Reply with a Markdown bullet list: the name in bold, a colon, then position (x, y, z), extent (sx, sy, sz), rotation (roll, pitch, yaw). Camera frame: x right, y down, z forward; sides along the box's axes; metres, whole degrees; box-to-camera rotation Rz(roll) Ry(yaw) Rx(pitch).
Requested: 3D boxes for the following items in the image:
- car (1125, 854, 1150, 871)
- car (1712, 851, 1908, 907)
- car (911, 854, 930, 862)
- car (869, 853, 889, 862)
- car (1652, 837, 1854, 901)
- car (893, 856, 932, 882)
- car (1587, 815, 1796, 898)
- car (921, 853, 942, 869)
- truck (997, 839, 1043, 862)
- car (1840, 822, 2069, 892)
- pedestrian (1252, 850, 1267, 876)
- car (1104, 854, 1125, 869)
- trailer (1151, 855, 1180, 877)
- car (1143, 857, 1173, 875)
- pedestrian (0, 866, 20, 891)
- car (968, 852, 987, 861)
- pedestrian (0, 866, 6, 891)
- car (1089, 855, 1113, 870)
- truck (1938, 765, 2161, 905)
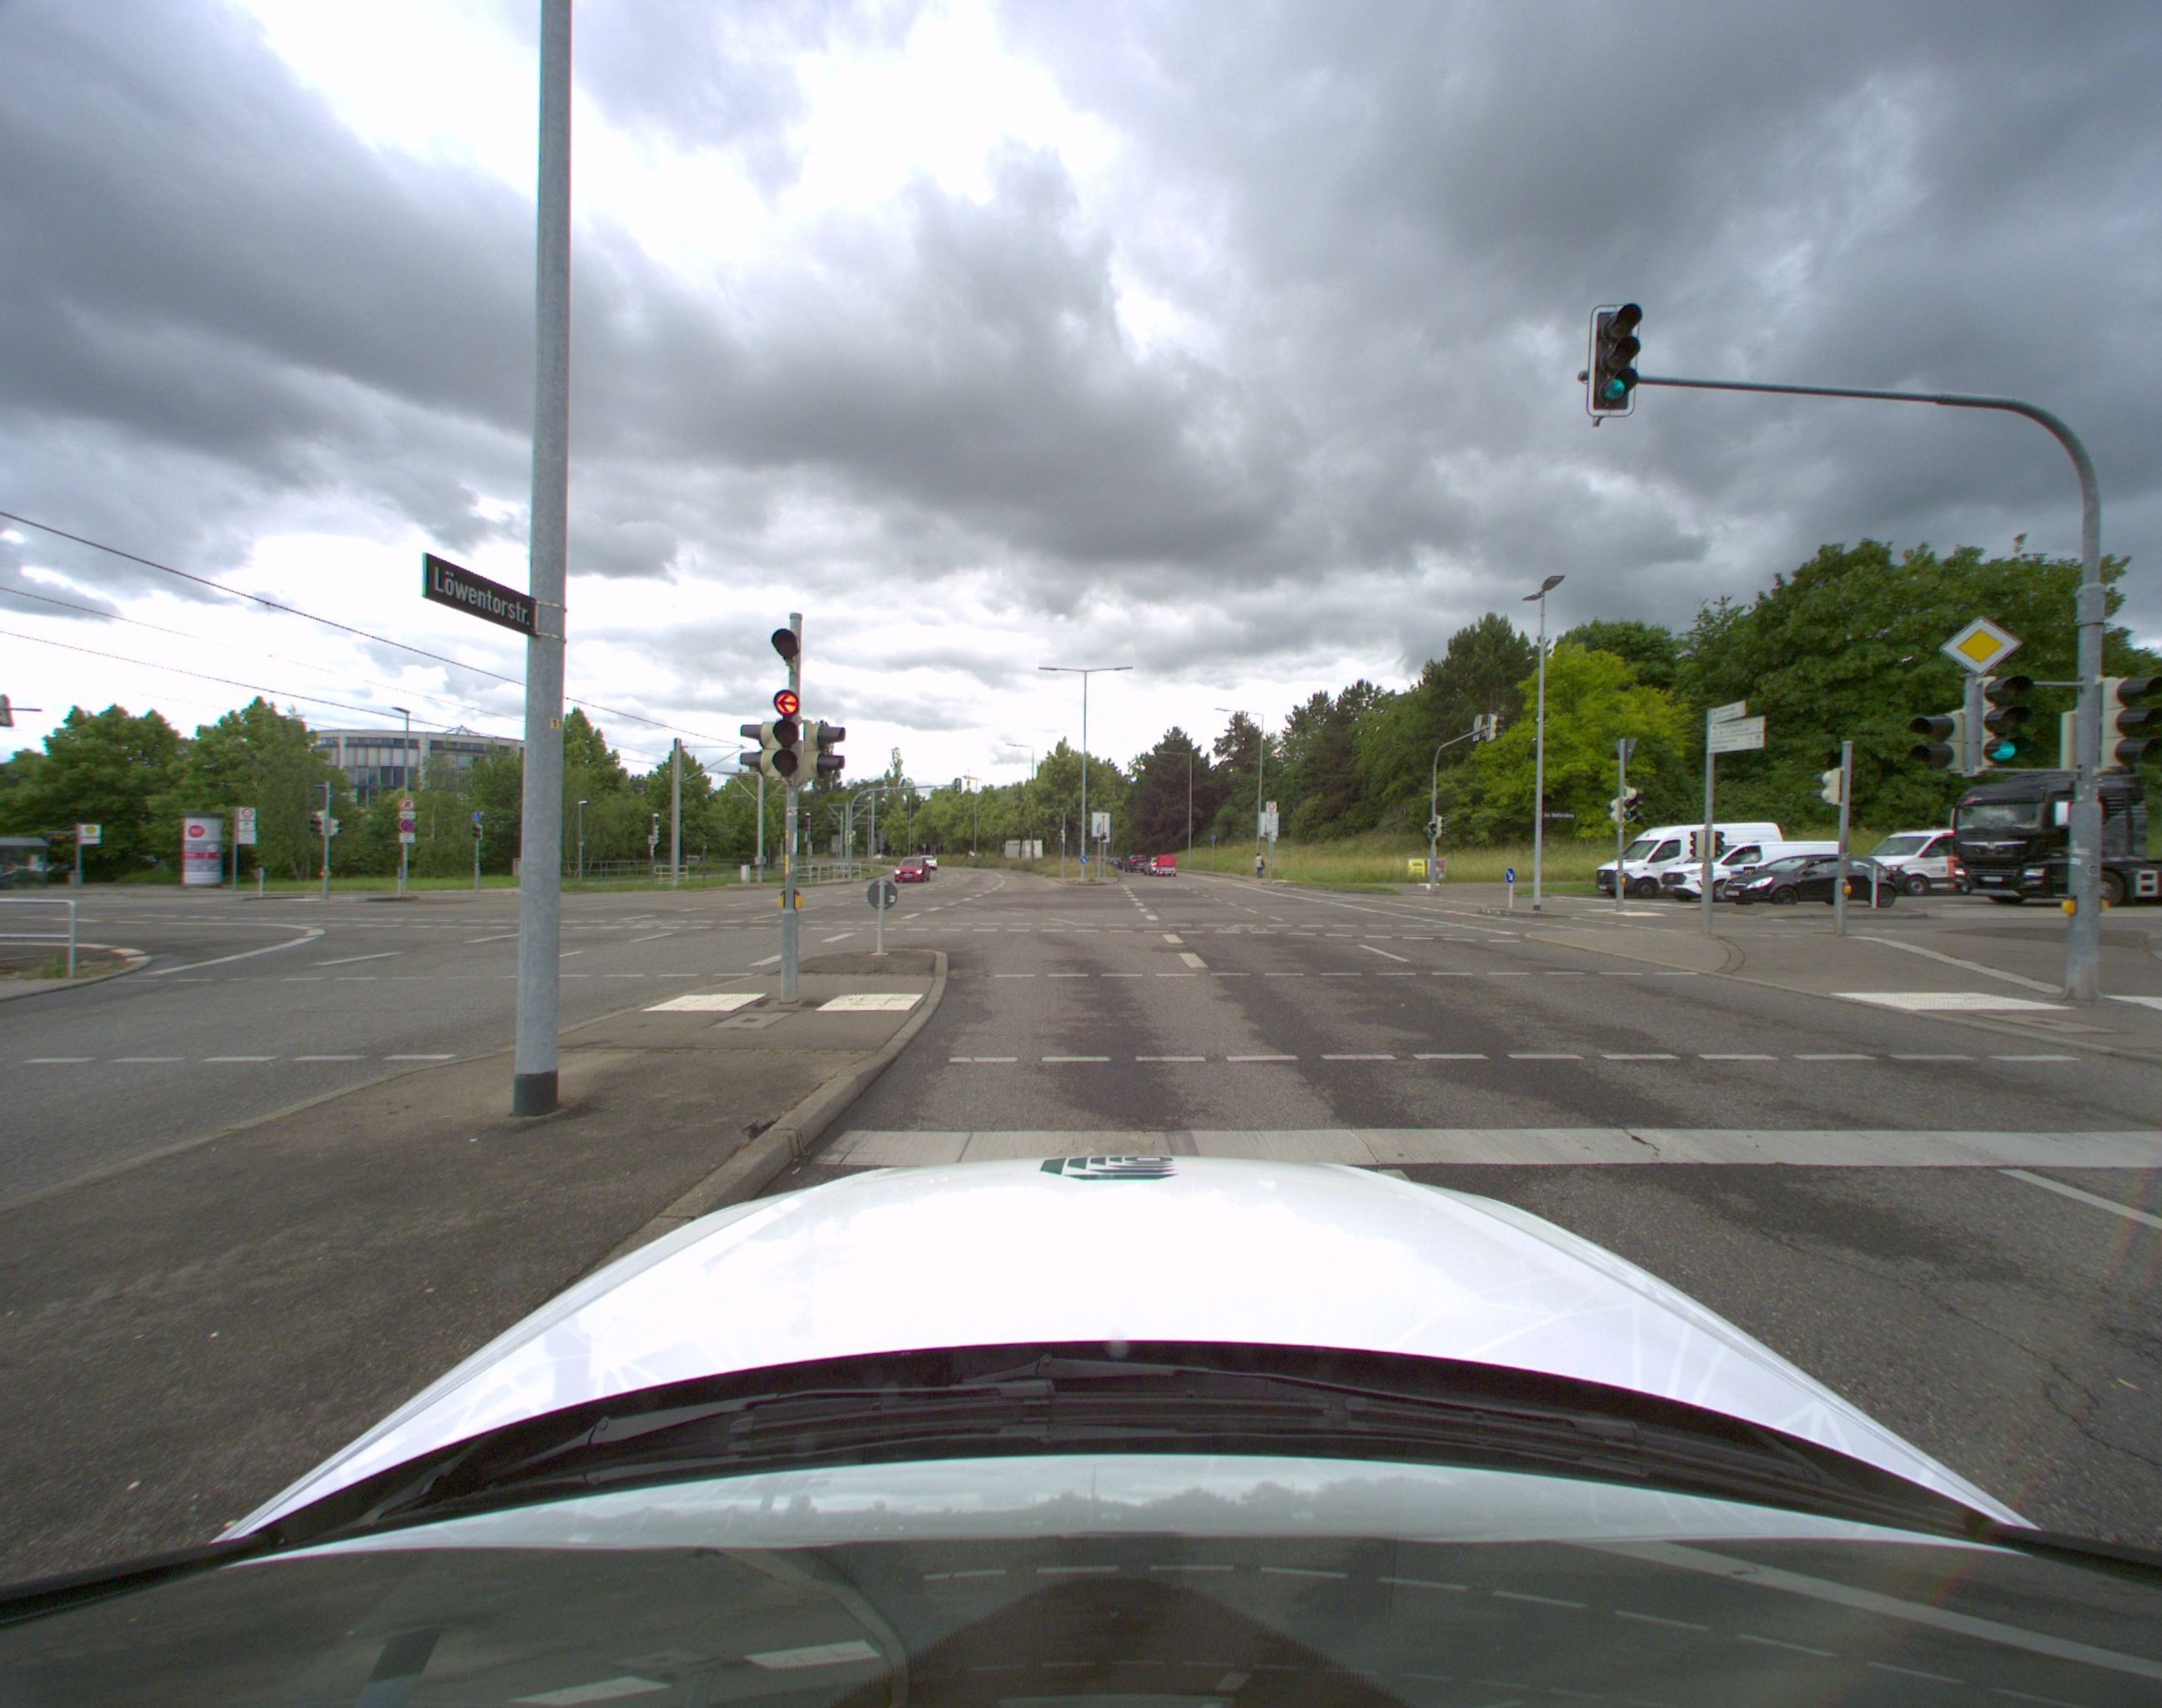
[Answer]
- **car**: position (5.384, 0.835, 77.916), extent (1.776, 1.546, 4.016), rotation (0, 0, -6)
- **car**: position (20.281, 0.667, 22.768), extent (3.905, 1.436, 1.732), rotation (-1, 0, 1)
- **car**: position (-32.516, 0.796, 164.940), extent (1.762, 1.546, 4.048), rotation (0, 0, 25)
- **car**: position (-39.208, 0.685, 157.724), extent (2.012, 1.684, 3.950), rotation (0, -1, -45)
- **car**: position (21.592, 0.455, 26.324), extent (4.836, 1.896, 2.034), rotation (-1, 0, 1)
- **car**: position (-10.030, 0.882, 48.797), extent (1.778, 1.443, 4.417), rotation (-1, 0, -5)
- **car**: position (21.898, 0.093, 29.404), extent (5.870, 2.781, 2.136), rotation (-1, 0, 2)
- **car**: position (-15.819, 0.731, 86.321), extent (1.827, 1.629, 4.414), rotation (-1, 0, -7)
- **truck**: position (-9.126, -0.484, 120.309), extent (2.754, 3.328, 11.308), rotation (-1, 0, -26)
- **car**: position (30.683, 0.107, 28.759), extent (5.677, 2.289, 2.136), rotation (-1, 0, 2)
- **pedestrian**: position (11.387, 0.585, 51.969), extent (0.811, 1.627, 0.791), rotation (0, 0, 1)
- **car**: position (3.583, 0.835, 87.540), extent (1.775, 1.546, 4.017), rotation (0, 0, -6)
- **trailer**: position (6.453, 0.865, 62.309), extent (1.761, 1.616, 3.040), rotation (0, 0, -3)
- **car**: position (6.227, 0.940, 66.050), extent (1.774, 1.421, 4.453), rotation (0, 0, -3)
- **pedestrian**: position (-56.447, 1.277, 42.754), extent (0.774, 1.304, 0.666), rotation (0, 0, 15)
- **car**: position (-17.039, 0.407, 134.021), extent (1.789, 1.546, 3.987), rotation (-1, 0, -29)
- **pedestrian**: position (-57.763, 1.301, 43.182), extent (0.774, 1.303, 0.666), rotation (0, 0, 15)
- **car**: position (2.267, 0.991, 93.701), extent (1.780, 1.546, 4.007), rotation (-2, 1, -13)
- **truck**: position (27.935, -0.518, 22.265), extent (6.027, 3.538, 2.729), rotation (-1, 0, 2)
